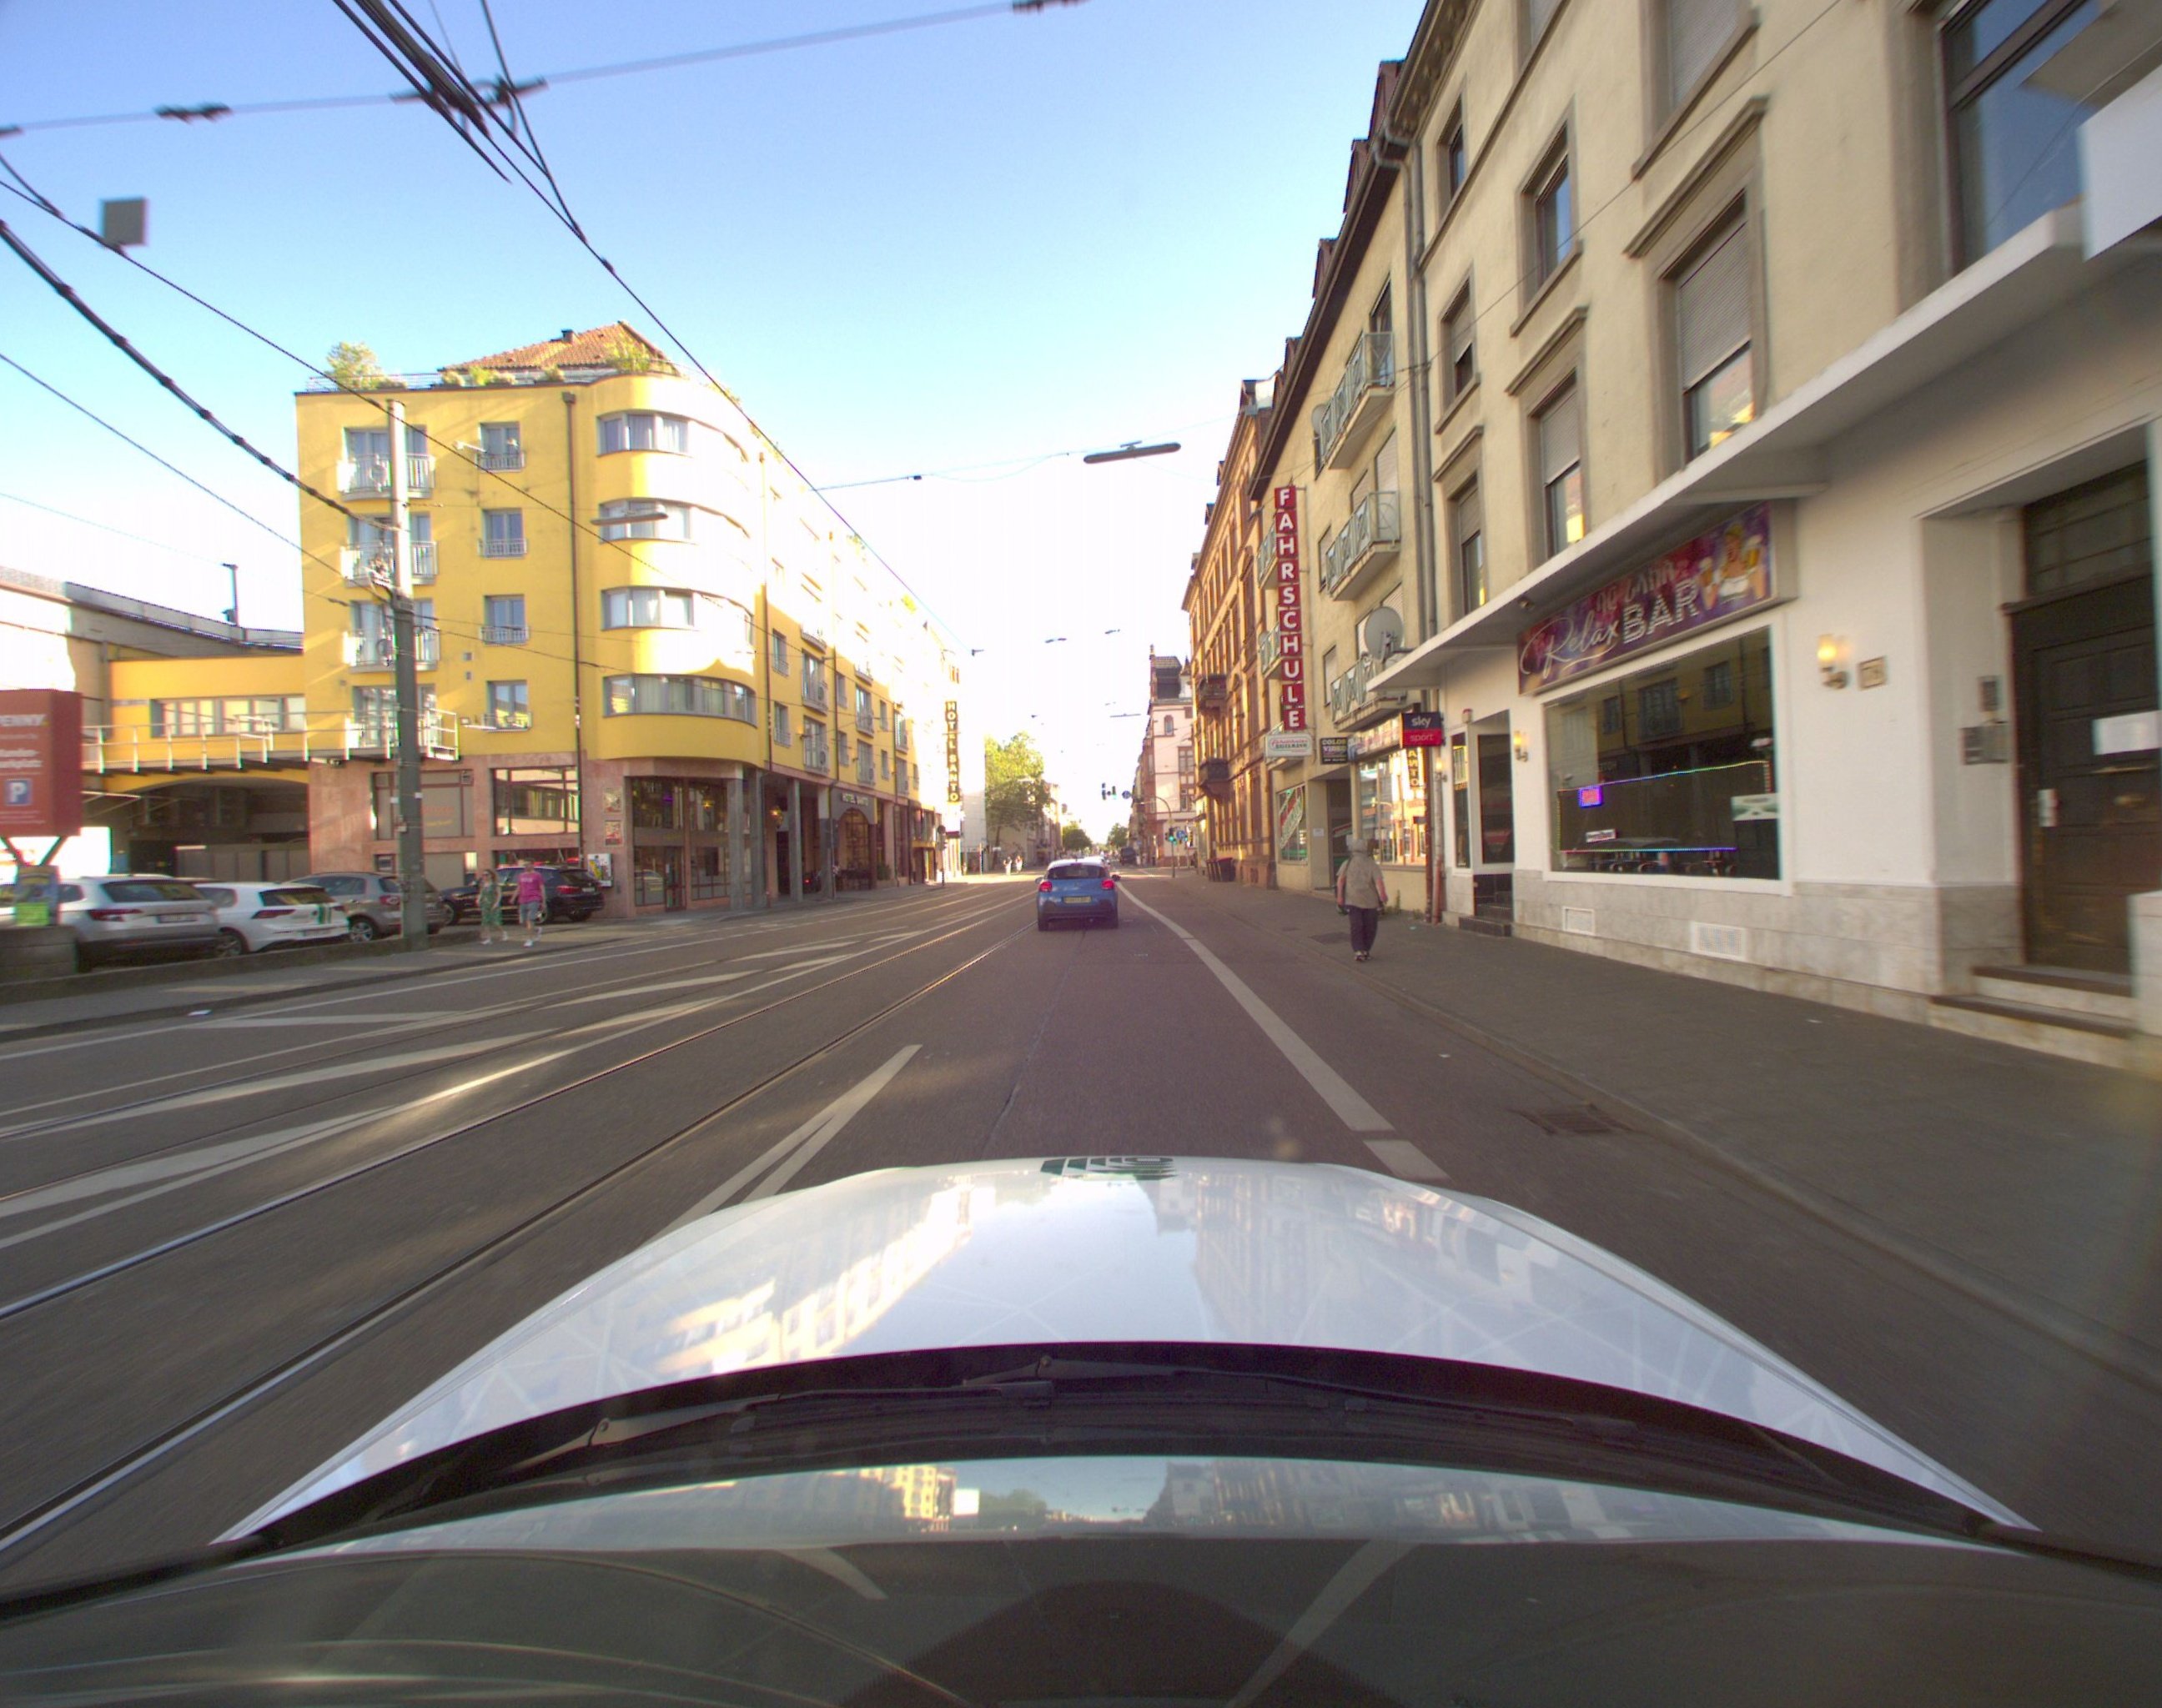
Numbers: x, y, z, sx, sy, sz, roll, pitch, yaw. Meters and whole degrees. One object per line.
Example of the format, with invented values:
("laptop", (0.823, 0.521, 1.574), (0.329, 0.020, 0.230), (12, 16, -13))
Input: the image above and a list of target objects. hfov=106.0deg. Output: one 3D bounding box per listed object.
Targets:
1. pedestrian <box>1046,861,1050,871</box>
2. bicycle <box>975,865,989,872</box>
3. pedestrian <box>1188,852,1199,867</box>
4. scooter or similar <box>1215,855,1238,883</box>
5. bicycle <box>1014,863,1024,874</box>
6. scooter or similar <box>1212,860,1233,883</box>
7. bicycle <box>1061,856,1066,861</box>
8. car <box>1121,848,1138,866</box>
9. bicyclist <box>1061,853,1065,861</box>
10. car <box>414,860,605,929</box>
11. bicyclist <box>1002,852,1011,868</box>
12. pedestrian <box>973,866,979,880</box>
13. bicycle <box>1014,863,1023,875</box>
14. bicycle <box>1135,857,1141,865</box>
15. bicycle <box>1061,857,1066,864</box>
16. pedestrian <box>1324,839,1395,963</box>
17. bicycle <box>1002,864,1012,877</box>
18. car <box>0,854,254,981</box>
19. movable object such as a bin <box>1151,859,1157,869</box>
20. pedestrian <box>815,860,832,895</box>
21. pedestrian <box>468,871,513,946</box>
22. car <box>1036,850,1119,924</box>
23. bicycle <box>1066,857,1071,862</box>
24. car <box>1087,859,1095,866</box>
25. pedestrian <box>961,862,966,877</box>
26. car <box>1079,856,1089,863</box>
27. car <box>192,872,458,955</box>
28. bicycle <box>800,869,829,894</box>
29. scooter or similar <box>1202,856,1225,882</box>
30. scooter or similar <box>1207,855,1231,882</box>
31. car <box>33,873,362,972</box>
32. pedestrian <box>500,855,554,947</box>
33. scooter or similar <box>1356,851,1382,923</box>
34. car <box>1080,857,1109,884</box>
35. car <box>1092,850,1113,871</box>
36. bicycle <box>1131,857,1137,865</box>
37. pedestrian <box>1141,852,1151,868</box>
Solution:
("pedestrian", (-5.479, 2.003, 135.488), (0.708, 1.764, 0.570), (-2, 0, 0))
("bicycle", (-13.592, 1.995, 111.679), (1.898, 1.034, 0.669), (-2, -1, 27))
("pedestrian", (10.773, 0.517, 77.917), (0.932, 1.457, 0.825), (-2, 0, 10))
("scooter or similar", (6.488, 0.664, 36.325), (0.788, 1.148, 0.790), (-6, 0, 0))
("bicycle", (-6.276, 1.454, 82.600), (0.728, 1.065, 2.061), (-2, 0, 0))
("scooter or similar", (6.454, 0.781, 37.208), (0.788, 0.957, 0.680), (-6, 0, 0))
("bicycle", (-4.440, 1.204, 211.084), (1.118, 1.319, 3.639), (-2, 0, -4))
("car", (6.993, 0.436, 119.035), (2.263, 2.436, 5.722), (-2, 0, 2))
("bicyclist", (-3.085, 0.524, 141.654), (0.680, 1.483, 0.778), (-2, 0, 1))
("car", (-16.346, 1.127, 23.427), (4.217, 1.812, 1.786), (-1, 0, 1))
("bicyclist", (-6.736, 0.518, 73.737), (0.721, 1.381, 1.228), (-1, 0, 0))
("pedestrian", (-11.708, 2.139, 91.022), (0.541, 1.552, 0.516), (-2, 0, 0))
("bicycle", (-6.464, 1.522, 84.917), (0.728, 1.183, 2.061), (-1, 0, 0))
("bicycle", (6.915, 0.878, 98.817), (0.430, 0.947, 1.760), (-1, 0, -5))
("bicycle", (-3.062, 1.181, 141.811), (0.690, 1.120, 2.084), (-2, 0, 1))
("pedestrian", (3.660, 0.598, 10.750), (0.646, 1.560, 0.781), (-1, -1, 0))
("bicycle", (-6.699, 1.498, 73.788), (0.728, 1.088, 2.061), (-1, 0, 0))
("car", (-16.265, 1.030, 13.052), (4.218, 1.812, 1.786), (-3, -2, 1))
("movable object such as a bin", (8.346, 1.157, 92.975), (0.664, 1.153, 0.594), (-1, -1, -1))
("pedestrian", (-13.285, 1.229, 41.978), (0.558, 1.770, 0.724), (-2, -1, 6))
("pedestrian", (-13.099, 1.194, 18.078), (0.570, 1.617, 0.499), (-2, 0, 0))
("car", (-0.088, 0.677, 18.509), (1.669, 1.477, 3.999), (-1, 0, -1))
("bicycle", (-3.284, 1.427, 211.227), (1.118, 1.146, 3.639), (-2, 0, -4))
("car", (2.670, 2.082, 209.287), (1.987, 1.744, 4.563), (-2, 0, 1))
("pedestrian", (-11.390, 1.506, 79.114), (0.402, 1.410, 0.516), (-1, -1, 0))
("car", (0.575, 1.121, 170.149), (1.978, 1.502, 4.309), (-1, 0, 1))
("car", (-16.523, 1.277, 17.940), (4.218, 1.548, 1.786), (-3, -2, 1))
("bicycle", (-13.874, 1.426, 42.433), (0.578, 1.203, 2.084), (-2, 0, 6))
("scooter or similar", (6.340, 0.710, 39.023), (0.894, 1.148, 0.547), (-6, 0, 0))
("scooter or similar", (6.430, 0.685, 37.933), (0.930, 1.148, 0.650), (-6, 0, 0))
("car", (-16.345, 1.225, 15.225), (4.217, 1.609, 1.786), (-1, 0, 1))
("pedestrian", (-12.135, 1.011, 17.863), (0.635, 1.946, 0.709), (-2, 0, 0))
("scooter or similar", (5.404, 0.599, 15.317), (0.407, 1.281, 1.290), (-2, 0, 18))
("car", (0.808, 0.987, 49.097), (1.661, 1.478, 4.000), (-2, 0, 1))
("car", (2.179, 0.628, 81.745), (1.987, 2.013, 4.000), (-2, 0, 1))
("bicycle", (6.449, 0.893, 98.752), (0.430, 0.947, 1.760), (-1, 0, -5))
("pedestrian", (7.801, 0.687, 97.444), (0.703, 1.780, 0.673), (-15, 0, 0))
